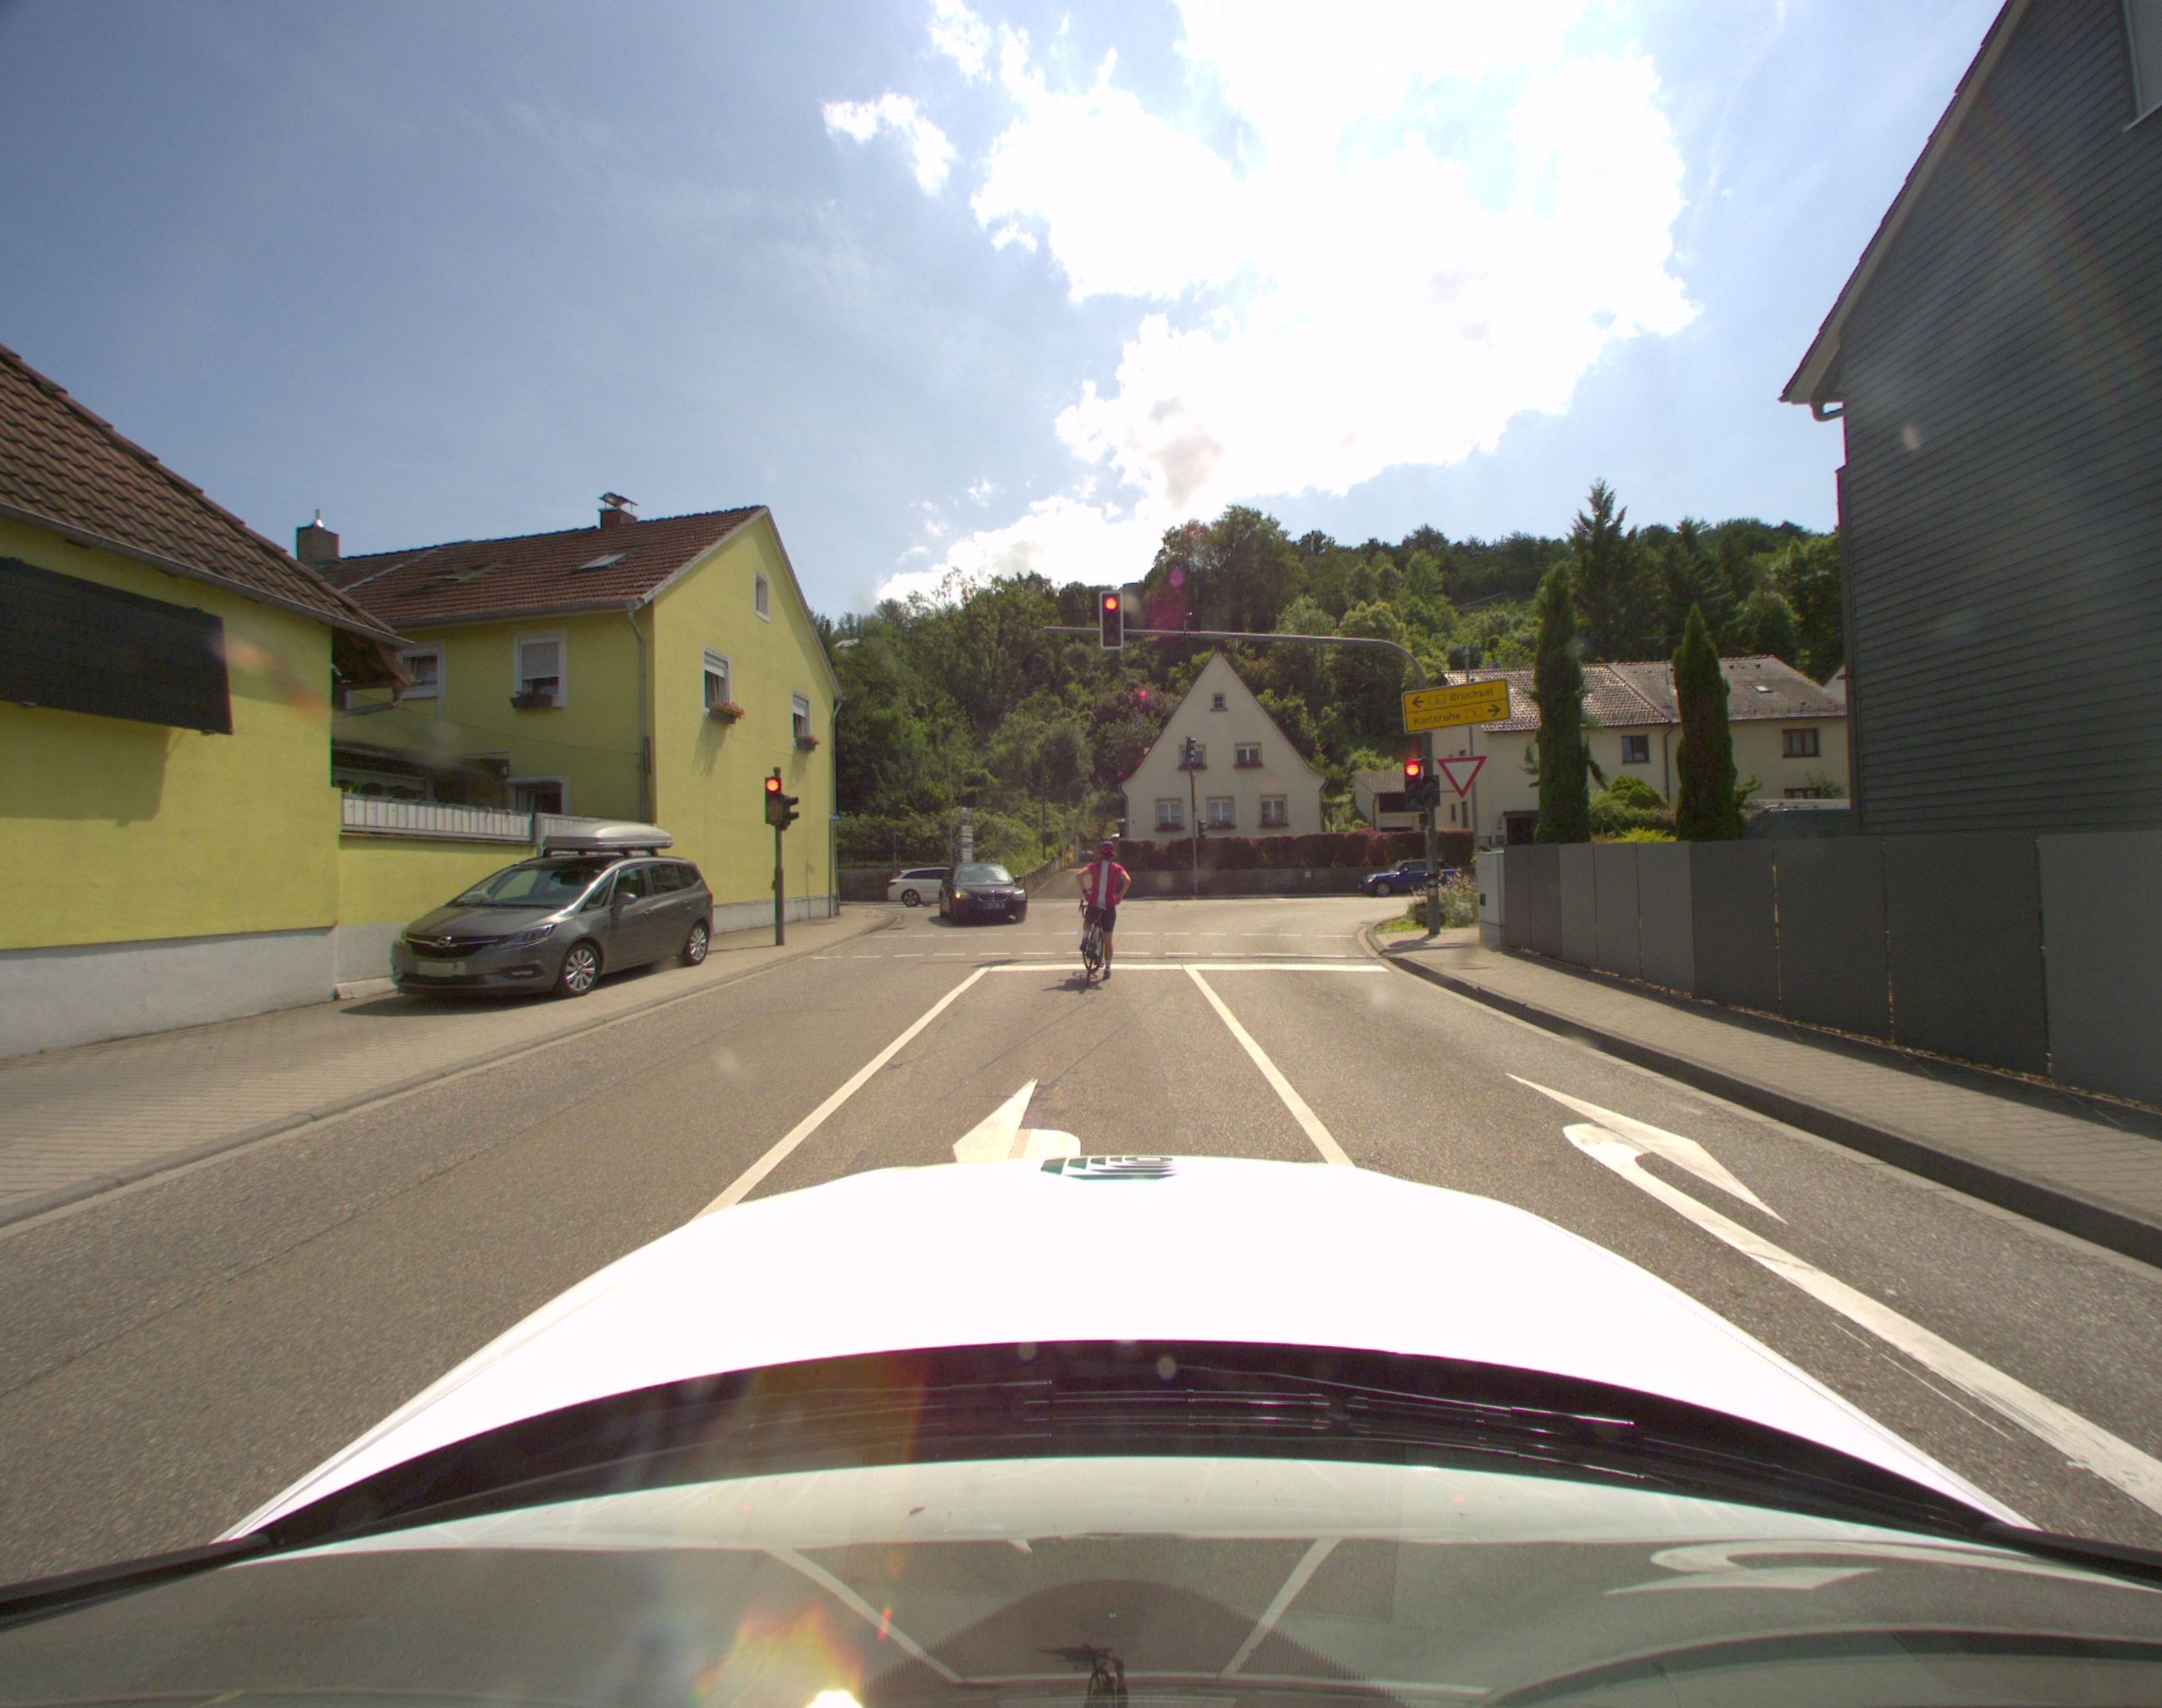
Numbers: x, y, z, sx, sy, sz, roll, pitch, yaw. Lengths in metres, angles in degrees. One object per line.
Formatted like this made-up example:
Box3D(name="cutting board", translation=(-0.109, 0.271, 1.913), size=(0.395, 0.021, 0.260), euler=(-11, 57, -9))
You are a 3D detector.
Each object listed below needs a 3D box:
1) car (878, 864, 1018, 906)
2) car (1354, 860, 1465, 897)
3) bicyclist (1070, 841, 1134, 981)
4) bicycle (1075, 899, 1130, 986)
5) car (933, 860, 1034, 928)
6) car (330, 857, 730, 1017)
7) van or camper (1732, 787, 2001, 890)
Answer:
Box3D(name="car", translation=(-4.813, 1.155, 29.789), size=(4.638, 1.427, 1.931), euler=(-1, -3, 7))
Box3D(name="car", translation=(12.387, 0.945, 30.864), size=(3.591, 1.363, 1.646), euler=(0, -3, 5))
Box3D(name="bicyclist", translation=(0.262, 0.675, 10.121), size=(0.758, 1.664, 0.869), euler=(0, -1, 1))
Box3D(name="bicycle", translation=(0.271, 1.054, 10.113), size=(0.627, 0.905, 1.657), euler=(0, 0, 2))
Box3D(name="car", translation=(-2.607, 0.937, 20.762), size=(1.867, 1.442, 4.646), euler=(-2, 0, -15))
Box3D(name="car", translation=(-6.671, 0.863, 10.696), size=(1.986, 1.635, 4.631), euler=(0, 0, 1))
Box3D(name="van or camper", translation=(24.889, -0.446, 26.059), size=(5.957, 3.005, 2.224), euler=(-1, -1, 9))
